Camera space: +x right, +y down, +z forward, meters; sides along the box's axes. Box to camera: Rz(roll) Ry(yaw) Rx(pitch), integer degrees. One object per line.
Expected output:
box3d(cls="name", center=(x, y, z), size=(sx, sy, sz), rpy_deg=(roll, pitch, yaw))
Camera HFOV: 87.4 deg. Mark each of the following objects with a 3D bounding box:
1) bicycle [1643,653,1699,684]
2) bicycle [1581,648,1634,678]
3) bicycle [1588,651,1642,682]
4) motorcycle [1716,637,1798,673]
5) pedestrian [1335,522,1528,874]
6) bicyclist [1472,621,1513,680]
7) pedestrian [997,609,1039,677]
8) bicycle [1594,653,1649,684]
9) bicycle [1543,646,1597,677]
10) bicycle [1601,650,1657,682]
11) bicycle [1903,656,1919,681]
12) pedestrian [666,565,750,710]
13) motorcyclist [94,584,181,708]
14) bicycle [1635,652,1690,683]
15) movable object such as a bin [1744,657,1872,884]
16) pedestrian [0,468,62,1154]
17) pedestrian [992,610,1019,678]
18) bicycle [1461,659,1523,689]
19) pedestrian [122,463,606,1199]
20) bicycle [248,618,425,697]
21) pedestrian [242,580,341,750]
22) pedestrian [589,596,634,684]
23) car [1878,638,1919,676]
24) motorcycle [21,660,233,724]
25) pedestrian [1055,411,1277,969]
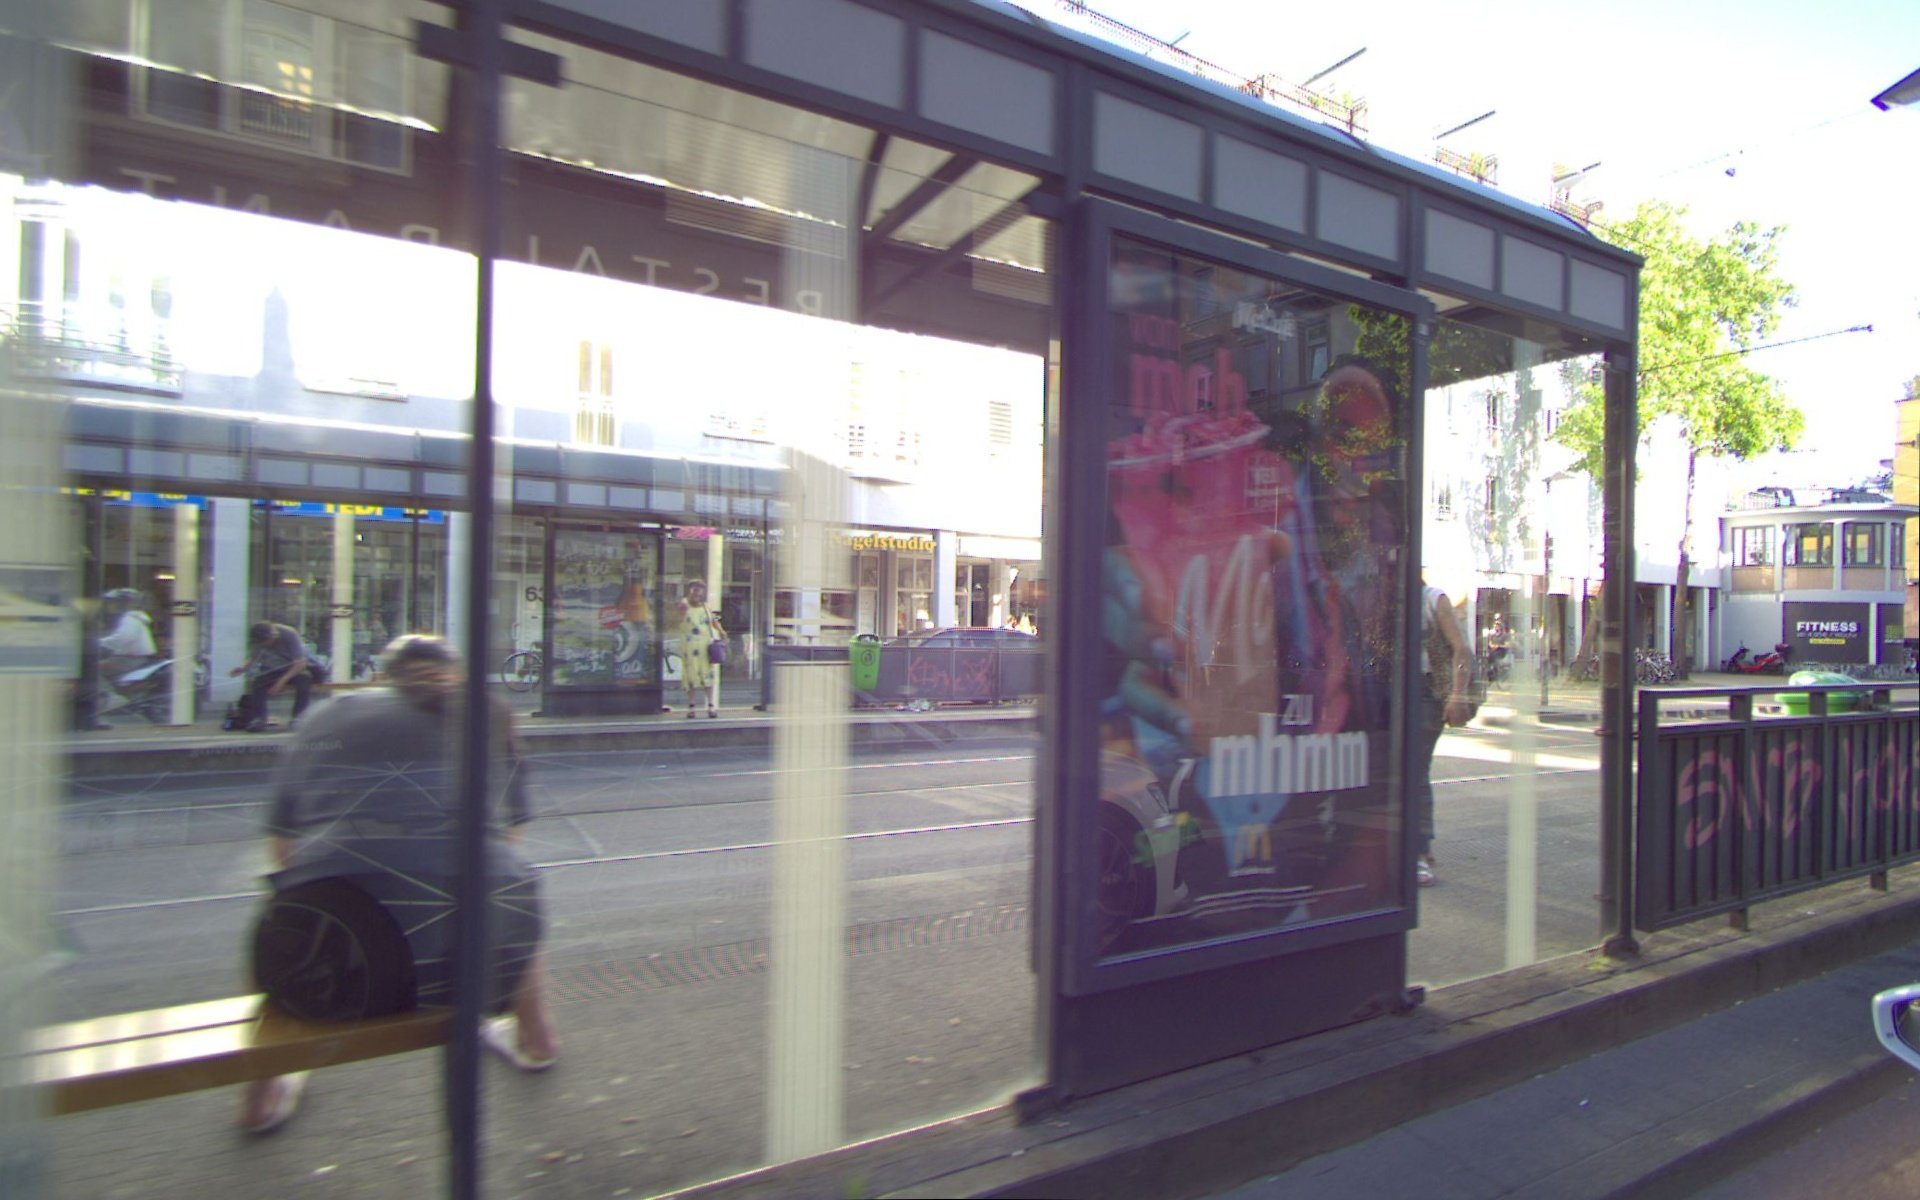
box3d(cls="bicycle", center=(22.927, 2.200, 32.406), size=(1.465, 0.953, 0.393), rpy_deg=(1, -1, 6))
box3d(cls="bicycle", center=(21.507, 2.087, 33.370), size=(1.465, 0.953, 0.393), rpy_deg=(1, -1, 6))
box3d(cls="bicycle", center=(21.466, 2.190, 32.945), size=(1.465, 0.953, 0.393), rpy_deg=(1, -1, 6))
box3d(cls="motorcycle", center=(32.112, 2.188, 40.531), size=(0.661, 1.305, 2.498), rpy_deg=(2, -1, -32))
box3d(cls="pedestrian", center=(2.303, 0.449, 4.928), size=(0.561, 1.579, 0.618), rpy_deg=(2, -1, -30))
box3d(cls="bicyclist", center=(14.545, 1.368, 27.449), size=(0.768, 1.578, 0.669), rpy_deg=(2, 0, -29))
box3d(cls="pedestrian", center=(1.441, 1.059, 24.965), size=(0.835, 1.643, 0.592), rpy_deg=(2, -1, -30))
box3d(cls="bicycle", center=(21.419, 2.223, 32.528), size=(1.465, 0.953, 0.393), rpy_deg=(1, -1, 6))
box3d(cls="bicycle", center=(19.905, 2.017, 32.785), size=(1.465, 0.953, 0.393), rpy_deg=(1, -1, 6))
box3d(cls="bicycle", center=(21.378, 2.103, 32.095), size=(1.465, 0.953, 0.393), rpy_deg=(1, -1, 6))
box3d(cls="bicycle", center=(40.245, 2.849, 41.824), size=(2.654, 1.015, 0.676), rpy_deg=(2, -1, -30))
box3d(cls="pedestrian", center=(-2.881, 0.416, 11.470), size=(0.734, 1.580, 0.727), rpy_deg=(1, 0, -31))
box3d(cls="motorcyclist", center=(-10.422, 0.579, 12.747), size=(0.713, 1.522, 0.484), rpy_deg=(3, 0, -30))
box3d(cls="bicycle", center=(22.981, 2.203, 32.865), size=(1.465, 0.953, 0.393), rpy_deg=(1, -1, 6))
box3d(cls="movable object such as a bin", center=(4.093, 0.796, 4.851), size=(0.399, 1.021, 0.345), rpy_deg=(2, -1, -29))
box3d(cls="pedestrian", center=(-2.030, 0.395, 1.640), size=(0.648, 1.289, 0.708), rpy_deg=(2, -1, -28))
box3d(cls="pedestrian", center=(1.161, 1.109, 25.440), size=(0.486, 1.686, 0.359), rpy_deg=(3, 0, -29))
box3d(cls="bicycle", center=(14.550, 2.024, 27.471), size=(1.914, 0.767, 0.563), rpy_deg=(2, -1, -30))
box3d(cls="pedestrian", center=(-1.192, 0.437, 2.124), size=(0.710, 1.289, 0.761), rpy_deg=(2, -1, -28))
box3d(cls="bicycle", center=(-10.304, 0.969, 16.731), size=(2.401, 1.183, 0.905), rpy_deg=(3, 0, -29))
box3d(cls="pedestrian", center=(-6.406, 0.596, 9.662), size=(0.734, 1.548, 0.727), rpy_deg=(1, 0, -31))
box3d(cls="pedestrian", center=(-6.733, 0.757, 19.390), size=(0.591, 1.643, 0.837), rpy_deg=(2, -1, -35))
box3d(cls="car", center=(45.274, 2.691, 46.345), size=(1.937, 1.697, 3.963), rpy_deg=(2, -1, -33))
box3d(cls="motorcycle", center=(-10.496, 1.163, 12.749), size=(1.983, 0.729, 0.490), rpy_deg=(3, 0, -30))
box3d(cls="pedestrian", center=(0.768, 0.291, 3.652), size=(0.555, 1.774, 0.718), rpy_deg=(1, -1, 31))
